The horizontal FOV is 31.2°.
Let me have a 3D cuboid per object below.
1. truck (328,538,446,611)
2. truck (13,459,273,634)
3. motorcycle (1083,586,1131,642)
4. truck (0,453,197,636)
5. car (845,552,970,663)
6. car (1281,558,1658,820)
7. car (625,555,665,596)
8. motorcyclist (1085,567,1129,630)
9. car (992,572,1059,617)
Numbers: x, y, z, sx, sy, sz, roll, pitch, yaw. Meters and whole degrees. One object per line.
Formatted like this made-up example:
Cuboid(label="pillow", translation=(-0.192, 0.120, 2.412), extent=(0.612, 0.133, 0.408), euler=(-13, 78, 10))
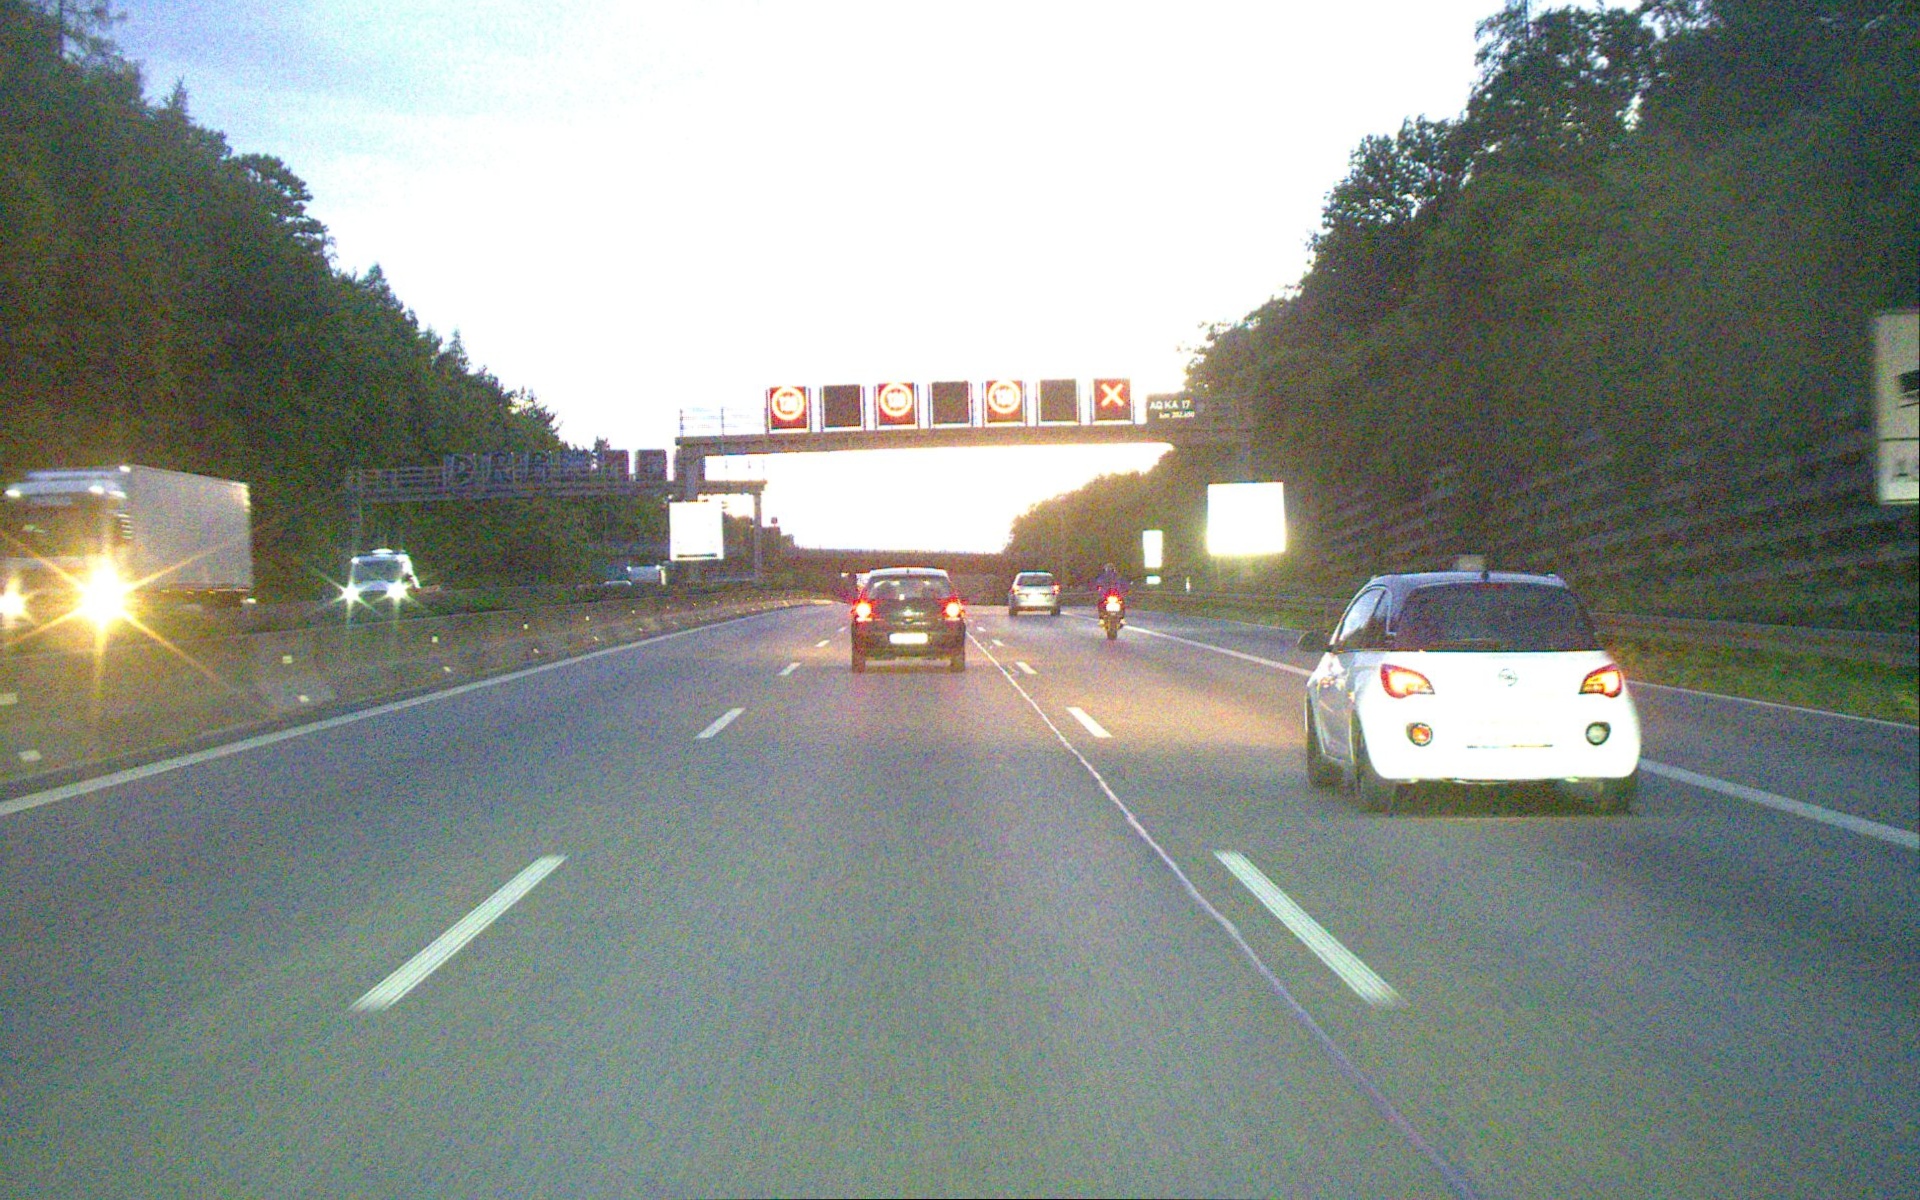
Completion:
Cuboid(label="truck", translation=(-20.285, -0.909, 122.202), extent=(2.461, 2.501, 9.754), euler=(0, 1, 1))
Cuboid(label="truck", translation=(-20.205, -1.322, 86.194), extent=(3.356, 3.989, 14.498), euler=(-1, 1, -1))
Cuboid(label="motorcycle", translation=(3.022, 0.288, 70.875), extent=(0.829, 1.130, 2.476), euler=(0, 0, -1))
Cuboid(label="truck", translation=(-19.995, -1.263, 79.288), extent=(3.380, 3.990, 6.880), euler=(-1, 1, -1))
Cuboid(label="car", translation=(-0.728, 0.120, 49.752), extent=(1.704, 1.504, 4.232), euler=(1, 0, 0))
Cuboid(label="car", translation=(3.188, 0.497, 22.325), extent=(1.825, 1.470, 4.399), euler=(0, 1, 1))
Cuboid(label="car", translation=(-22.273, -1.714, 243.025), extent=(1.982, 2.871, 7.834), euler=(-1, 0, 1))
Cuboid(label="motorcyclist", translation=(3.017, -0.027, 70.806), extent=(0.829, 1.287, 1.190), euler=(0, 0, -1))
Cuboid(label="car", translation=(2.251, -0.182, 119.385), extent=(1.865, 1.489, 4.399), euler=(1, 0, -5))
